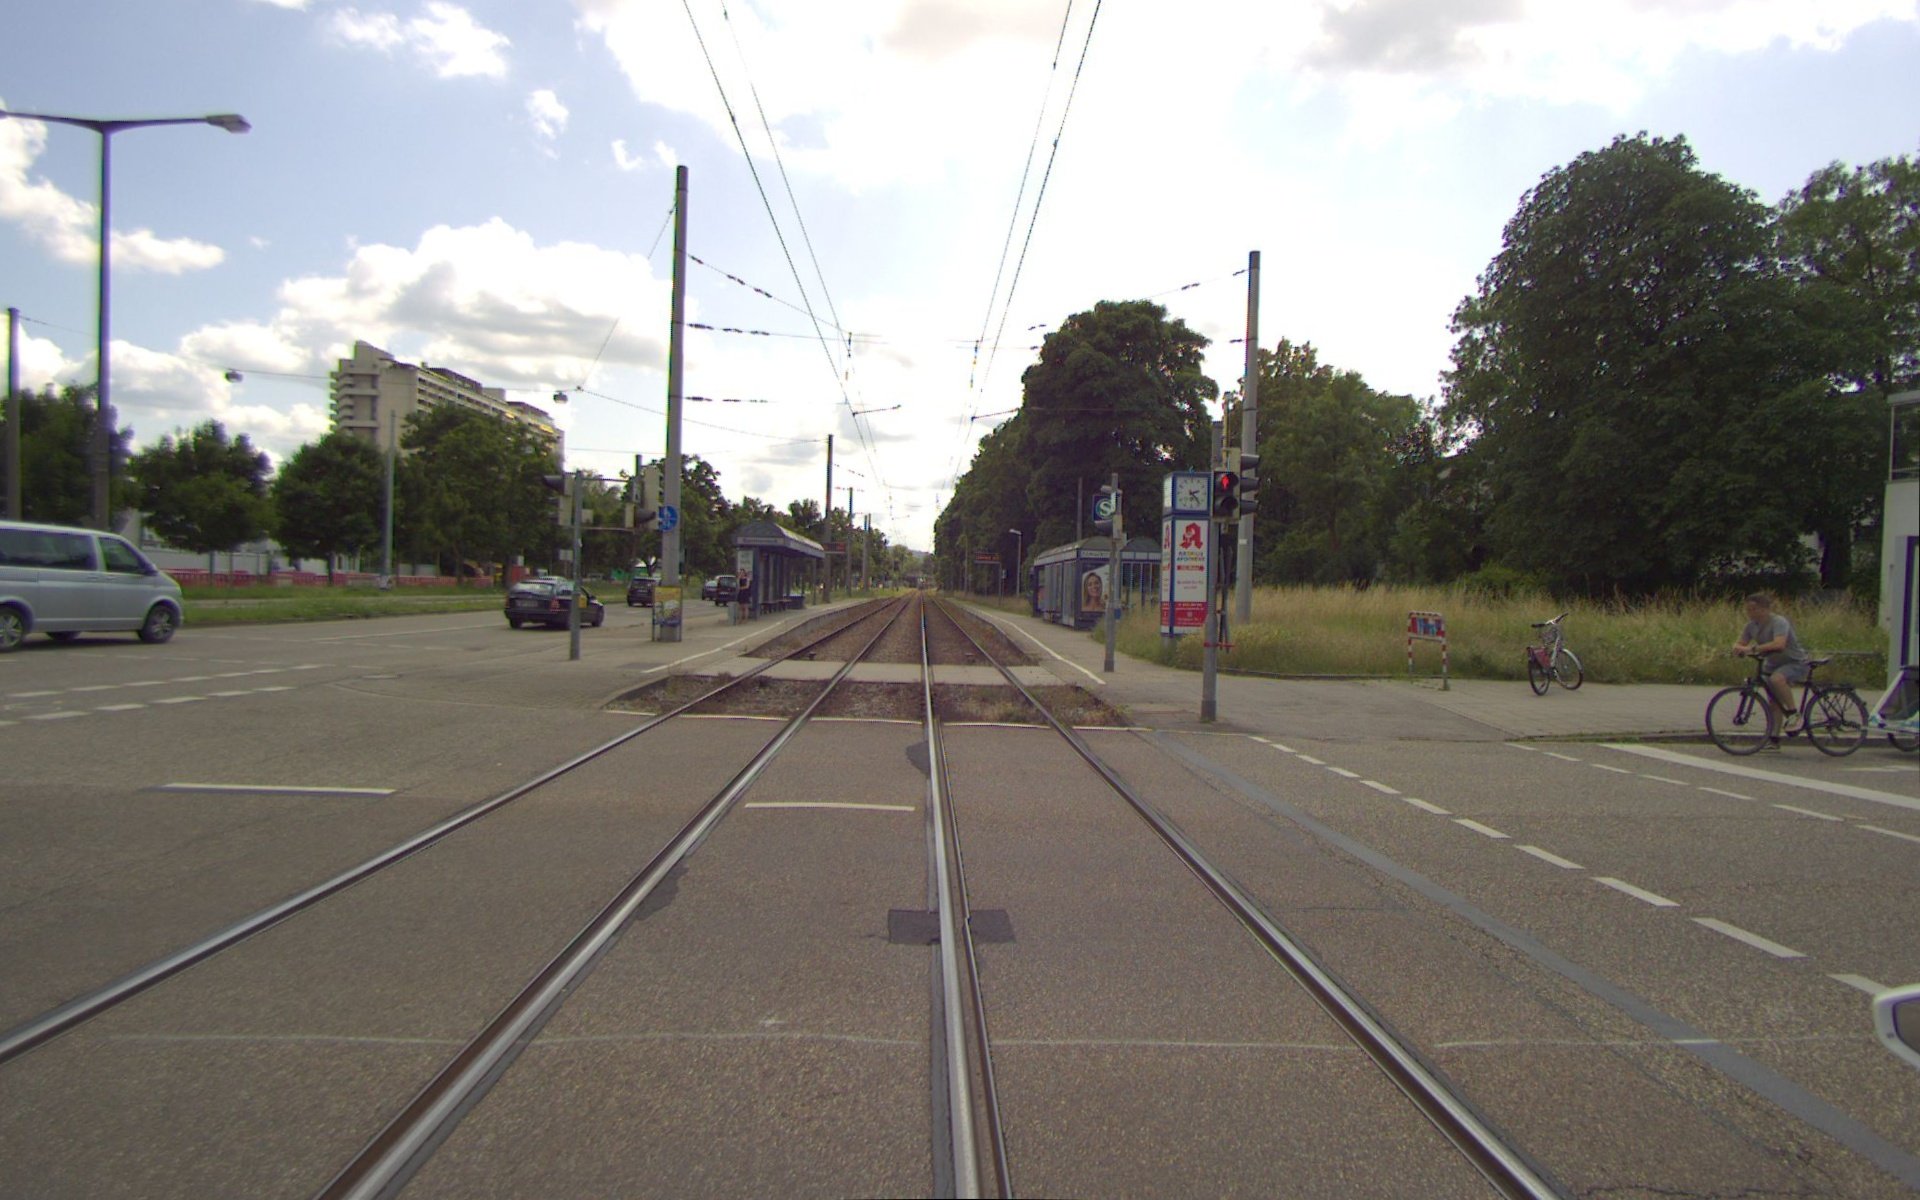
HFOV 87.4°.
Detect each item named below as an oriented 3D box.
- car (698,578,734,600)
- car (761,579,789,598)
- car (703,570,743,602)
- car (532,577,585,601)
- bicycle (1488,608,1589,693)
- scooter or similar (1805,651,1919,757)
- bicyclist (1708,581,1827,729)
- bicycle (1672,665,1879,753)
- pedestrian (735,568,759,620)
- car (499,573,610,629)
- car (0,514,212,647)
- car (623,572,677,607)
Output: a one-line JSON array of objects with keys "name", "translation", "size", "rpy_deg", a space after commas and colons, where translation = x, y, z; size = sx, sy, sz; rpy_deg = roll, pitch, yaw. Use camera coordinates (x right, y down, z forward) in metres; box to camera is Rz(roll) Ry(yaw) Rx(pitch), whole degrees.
[{"name": "car", "translation": [-18.046, -0.805, 74.419], "size": [1.835, 1.524, 3.997], "rpy_deg": [3, 1, -4]}, {"name": "car", "translation": [-16.271, -1.010, 88.476], "size": [1.757, 1.545, 4.299], "rpy_deg": [3, 1, -3]}, {"name": "car", "translation": [-14.713, -0.858, 62.583], "size": [1.731, 1.801, 3.906], "rpy_deg": [3, 1, -4]}, {"name": "car", "translation": [-27.294, -0.743, 68.384], "size": [1.961, 1.524, 4.172], "rpy_deg": [3, 1, -2]}, {"name": "bicycle", "translation": [8.673, 0.726, 15.045], "size": [1.645, 1.148, 0.694], "rpy_deg": [-1, 3, -37]}, {"name": "scooter or similar", "translation": [10.052, 1.078, 10.534], "size": [1.548, 0.993, 0.962], "rpy_deg": [1, 1, 0]}, {"name": "bicyclist", "translation": [8.480, 0.565, 10.565], "size": [0.825, 1.495, 0.455], "rpy_deg": [2, 1, 0]}, {"name": "bicycle", "translation": [8.548, 1.137, 10.564], "size": [1.693, 0.775, 0.555], "rpy_deg": [3, 1, 0]}, {"name": "pedestrian", "translation": [-6.414, -0.196, 30.254], "size": [0.644, 1.534, 0.716], "rpy_deg": [1, 1, -11]}, {"name": "car", "translation": [-11.989, -0.008, 30.005], "size": [1.727, 1.485, 4.430], "rpy_deg": [2, 1, -4]}, {"name": "car", "translation": [-14.957, -0.331, 16.277], "size": [1.783, 1.944, 5.231], "rpy_deg": [2, 1, -1]}, {"name": "car", "translation": [-16.347, -0.566, 53.189], "size": [1.757, 1.690, 4.337], "rpy_deg": [3, 1, -4]}]
